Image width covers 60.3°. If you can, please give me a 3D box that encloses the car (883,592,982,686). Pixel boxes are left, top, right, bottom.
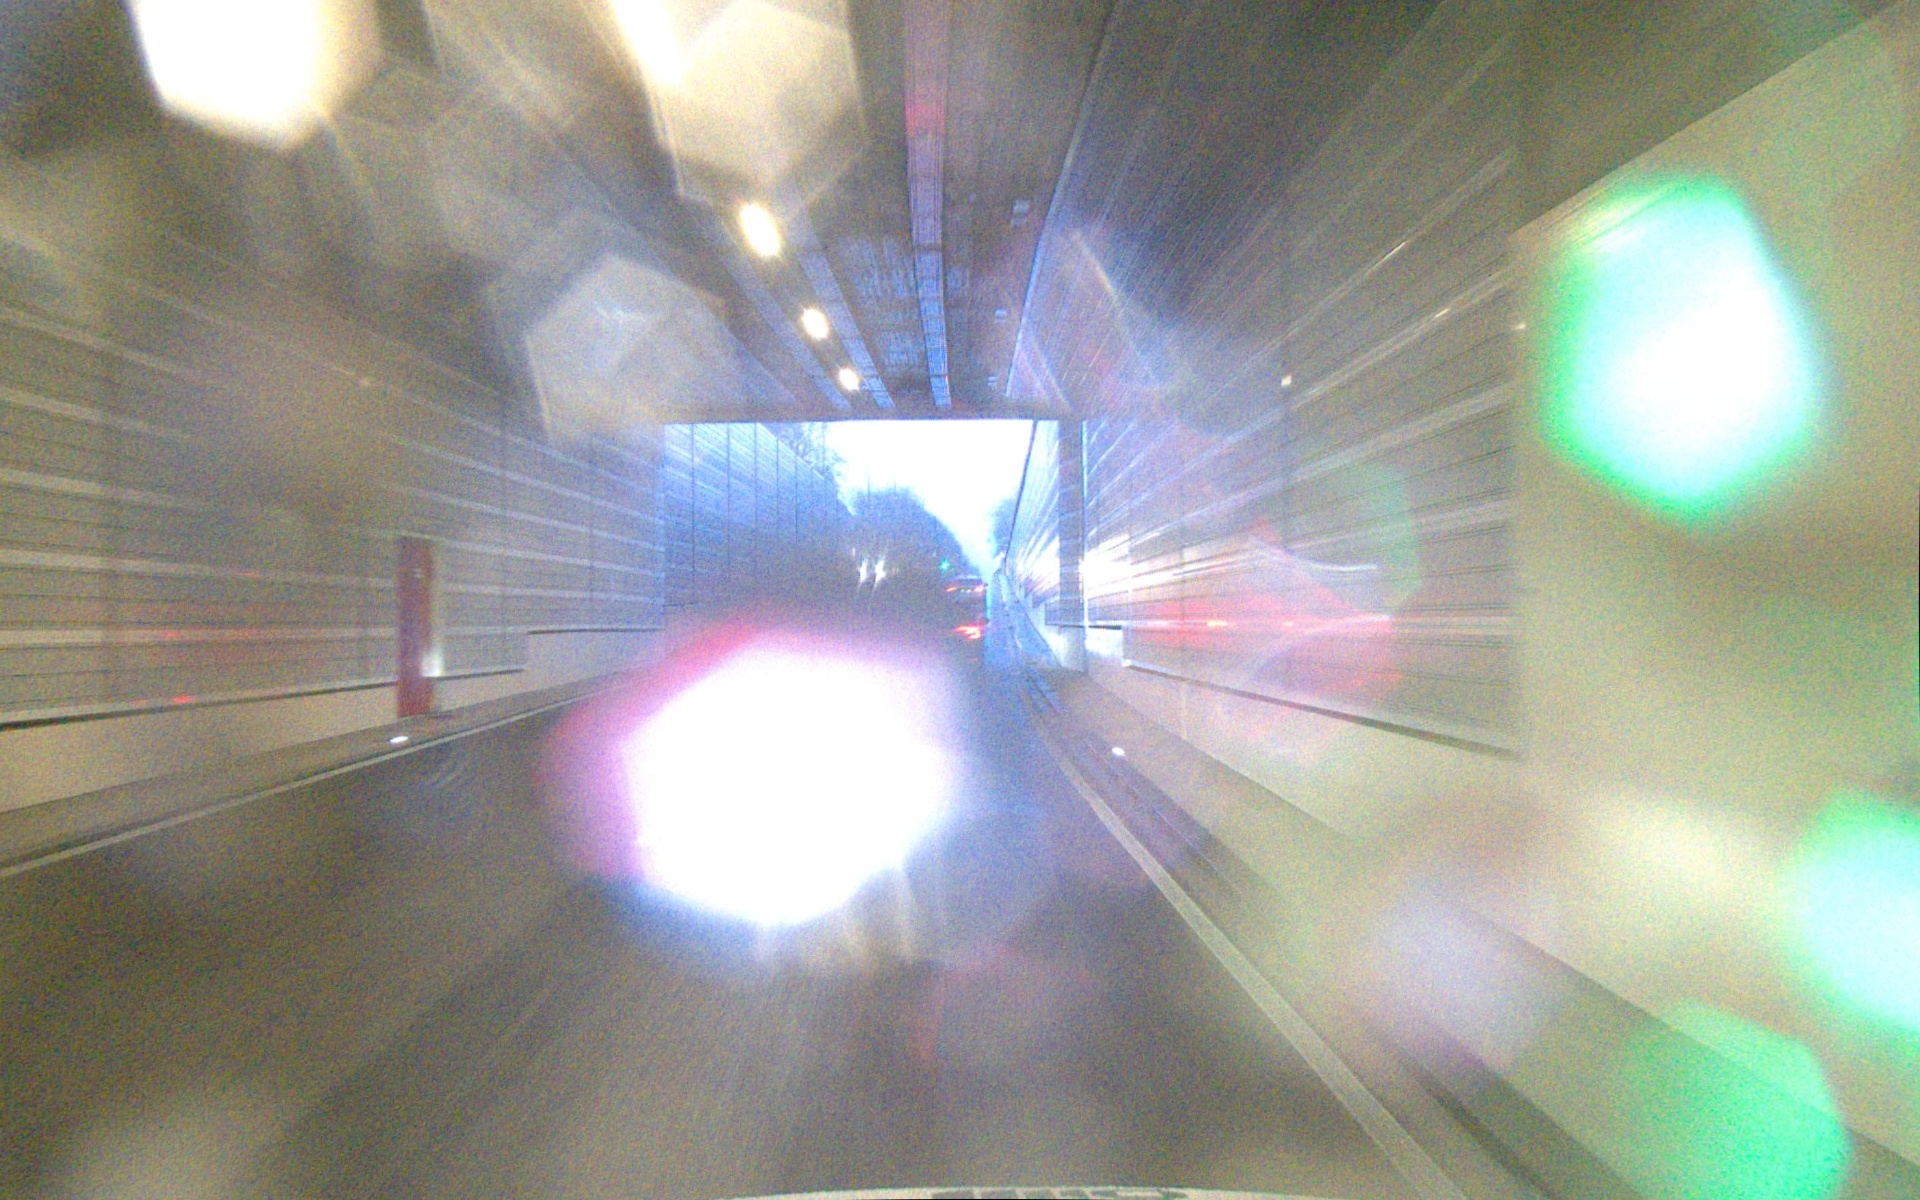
[{"bbox_3d":[-0.481,0.631,27.777,1.501,1.422,3.432,2,0,-2],"label":"car"}]

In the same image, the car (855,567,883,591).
[{"bbox_3d":[-7.185,-1.666,131.116,1.841,1.649,4.000,3,-1,1],"label":"car"}]

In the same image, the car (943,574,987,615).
[{"bbox_3d":[0.212,-0.235,74.594,1.842,1.649,3.999,3,-1,-1],"label":"car"}]
